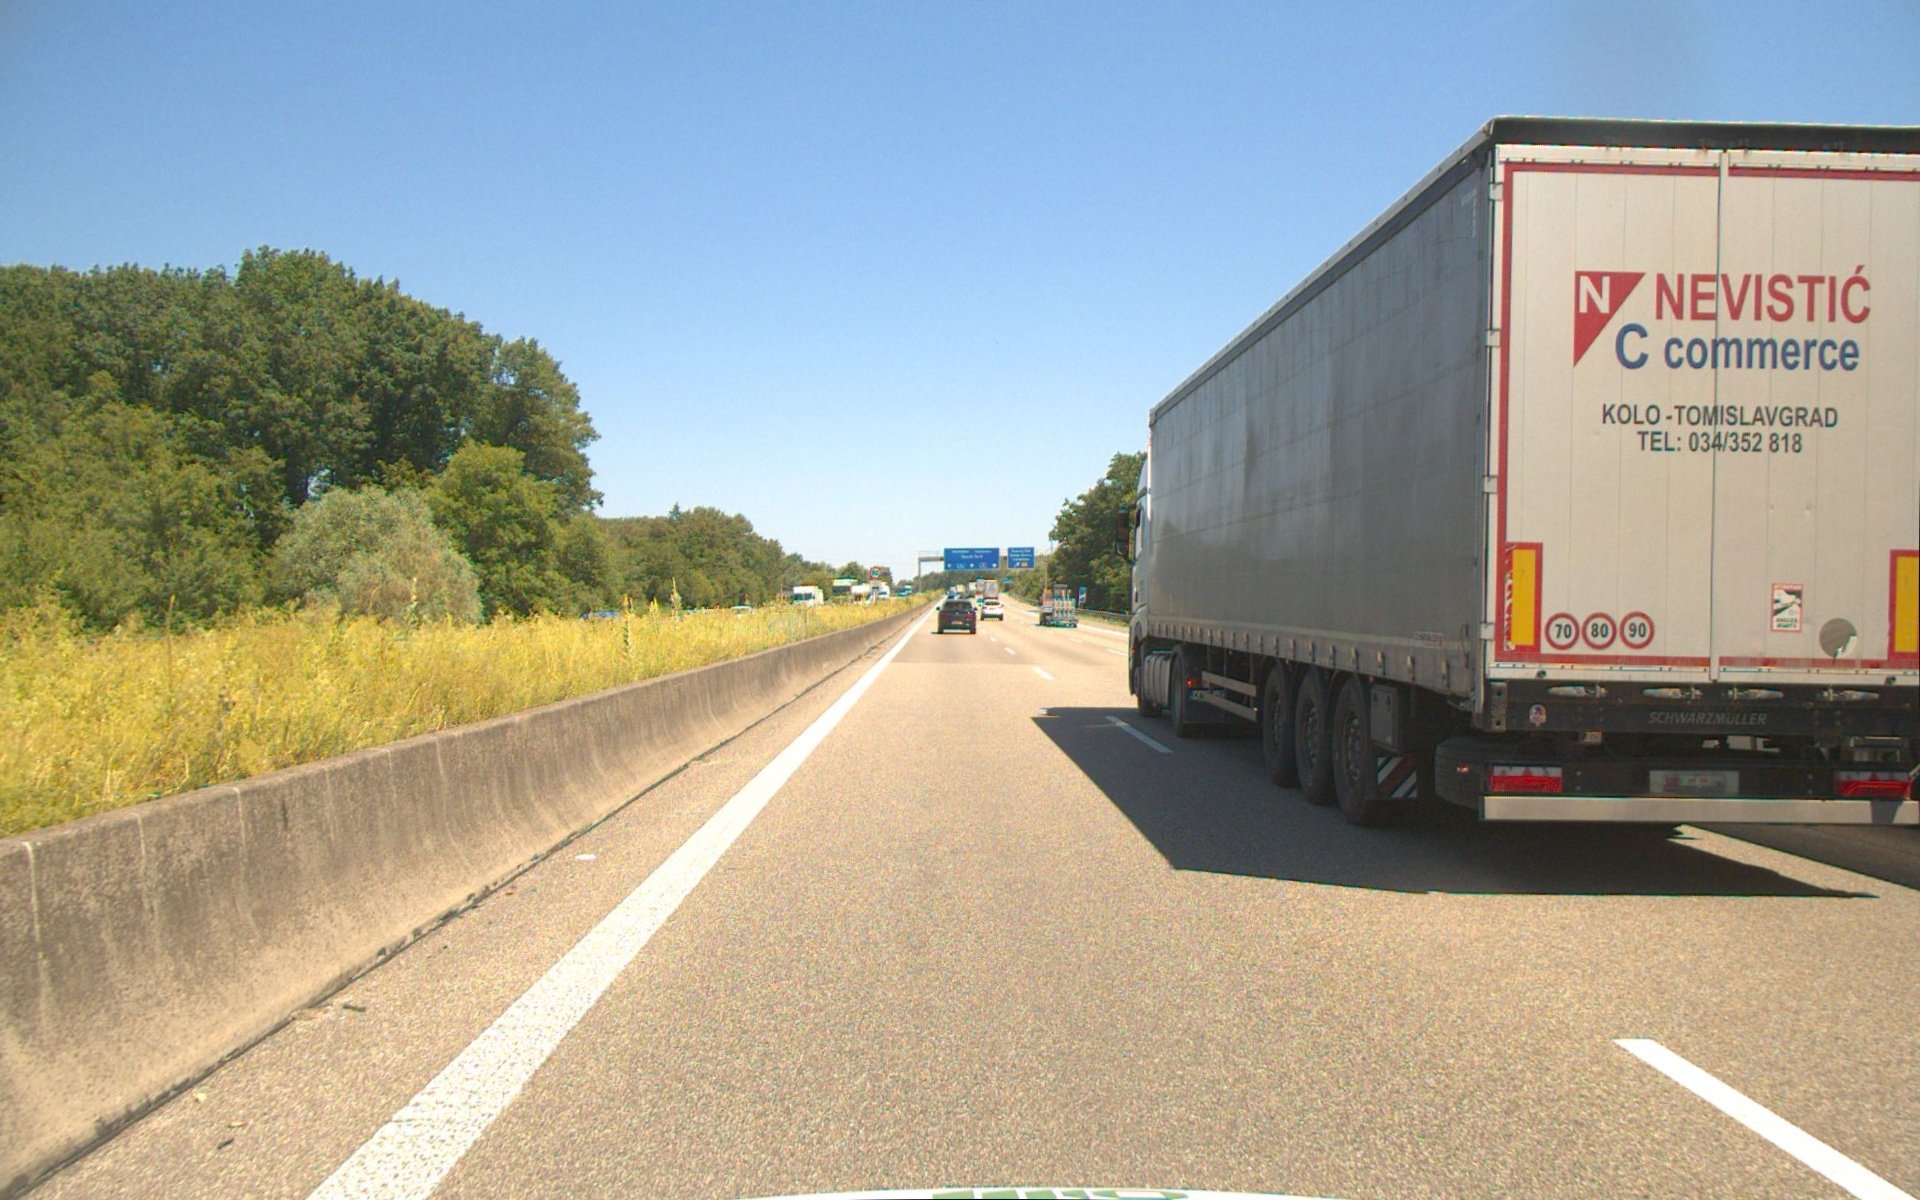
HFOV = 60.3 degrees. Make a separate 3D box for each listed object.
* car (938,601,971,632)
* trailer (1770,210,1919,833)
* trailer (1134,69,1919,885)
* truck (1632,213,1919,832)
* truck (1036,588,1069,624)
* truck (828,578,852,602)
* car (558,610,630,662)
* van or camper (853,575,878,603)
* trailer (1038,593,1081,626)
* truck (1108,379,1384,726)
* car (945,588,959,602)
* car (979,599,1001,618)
[{"bbox_3d":[-0.301,0.841,84.677,1.626,1.576,3.781,0,0,-2],"label":"car"},{"bbox_3d":[7.823,-0.562,8.200,2.269,4.315,10.652,0,0,-1],"label":"trailer"},{"bbox_3d":[3.881,-0.573,15.803,2.652,4.139,14.742,0,0,-1],"label":"trailer"},{"bbox_3d":[7.748,-0.520,13.860,2.281,4.305,4.672,0,-1,-1],"label":"truck"},{"bbox_3d":[6.408,0.373,114.827,1.953,2.415,4.643,0,0,-2],"label":"truck"},{"bbox_3d":[-15.314,-1.290,211.191,2.553,3.061,6.971,0,0,-1],"label":"truck"},{"bbox_3d":[-13.508,1.307,61.279,1.894,1.778,4.486,-1,0,-3],"label":"car"},{"bbox_3d":[-11.295,-1.352,198.993,2.456,3.210,7.534,1,0,0],"label":"van or camper"},{"bbox_3d":[6.551,0.603,109.478,2.372,2.049,6.032,0,1,-2],"label":"trailer"},{"bbox_3d":[3.749,-0.551,23.193,2.645,4.165,6.451,0,-1,-1],"label":"truck"},{"bbox_3d":[-1.157,-0.732,243.660,1.953,2.049,3.999,-1,0,-1],"label":"car"},{"bbox_3d":[2.466,0.691,136.079,1.704,1.512,3.999,0,0,-1],"label":"car"}]
